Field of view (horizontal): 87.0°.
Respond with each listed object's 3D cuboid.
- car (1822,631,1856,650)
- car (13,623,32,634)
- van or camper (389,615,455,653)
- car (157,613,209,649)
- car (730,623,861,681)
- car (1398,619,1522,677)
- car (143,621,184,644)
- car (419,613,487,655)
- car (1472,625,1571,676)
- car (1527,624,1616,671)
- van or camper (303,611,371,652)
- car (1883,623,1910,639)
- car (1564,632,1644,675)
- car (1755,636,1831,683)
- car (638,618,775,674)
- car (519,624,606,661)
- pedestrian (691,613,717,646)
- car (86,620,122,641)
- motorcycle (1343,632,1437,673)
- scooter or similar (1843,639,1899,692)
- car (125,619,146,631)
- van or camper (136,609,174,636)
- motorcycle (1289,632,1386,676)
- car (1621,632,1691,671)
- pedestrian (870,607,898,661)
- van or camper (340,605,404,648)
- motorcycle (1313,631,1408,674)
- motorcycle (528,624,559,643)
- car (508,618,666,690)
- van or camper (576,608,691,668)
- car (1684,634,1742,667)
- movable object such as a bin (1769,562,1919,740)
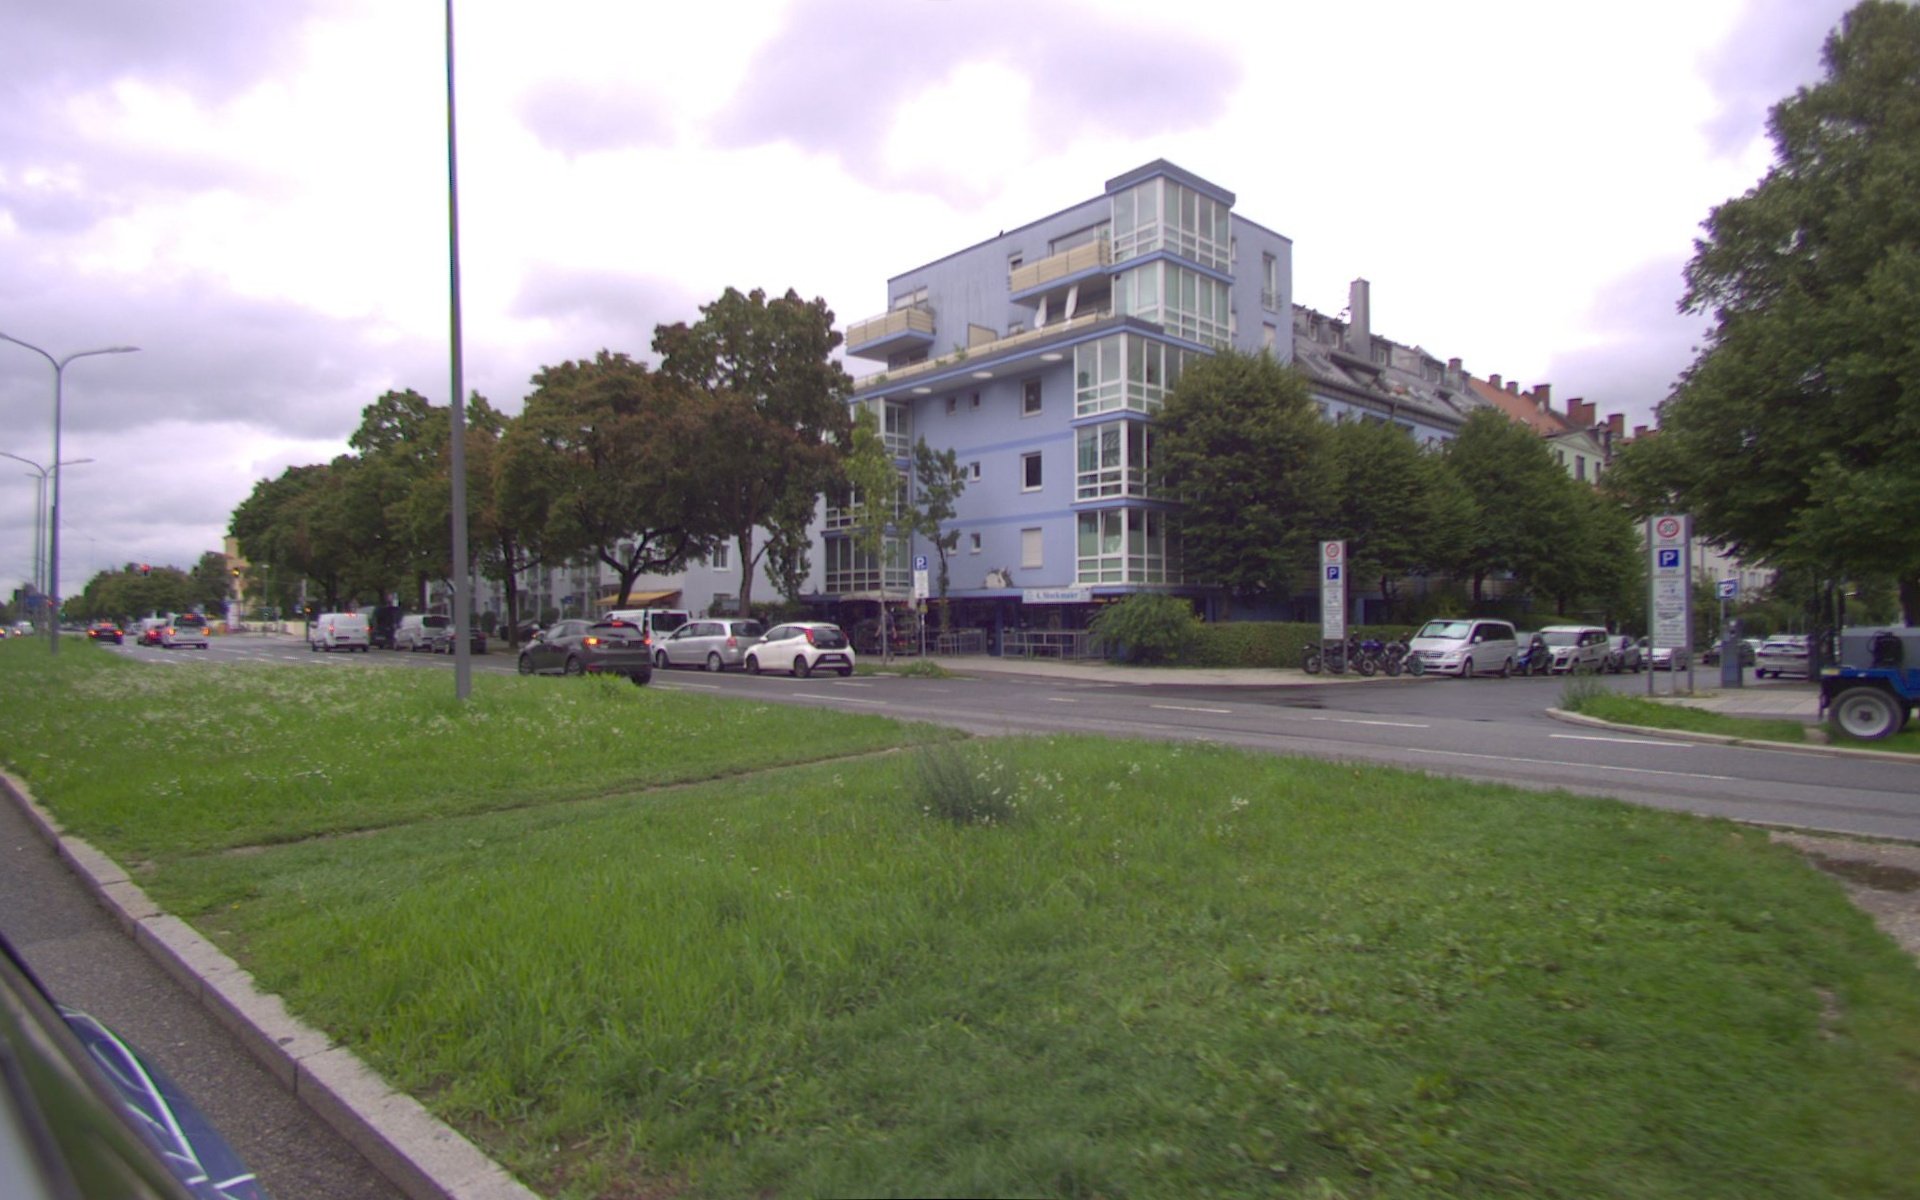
[{"bbox_3d":[74.974,3.426,86.296,1.938,1.605,3.941,-1,-2,45],"label":"car"},{"bbox_3d":[-107.808,3.263,116.355,1.567,1.276,3.738,1,-2,-43],"label":"car"},{"bbox_3d":[-29.099,1.807,54.634,1.996,1.957,4.709,1,-2,-43],"label":"van or camper"},{"bbox_3d":[-45.015,1.792,58.581,1.916,2.013,4.709,1,-2,-43],"label":"car"},{"bbox_3d":[-4.607,1.380,28.032,3.904,1.500,1.628,-1,-2,45],"label":"car"},{"bbox_3d":[15.870,1.457,32.001,2.001,1.695,5.043,-1,-2,45],"label":"car"},{"bbox_3d":[-51.385,2.064,65.257,1.770,1.459,3.675,1,-2,-43],"label":"car"},{"bbox_3d":[-25.118,1.646,50.087,1.775,2.013,4.551,1,-2,-43],"label":"car"},{"bbox_3d":[20.130,1.739,36.221,2.001,1.695,4.199,-1,-2,45],"label":"car"},{"bbox_3d":[23.533,1.785,38.895,2.001,1.695,4.199,-1,-2,45],"label":"car"},{"bbox_3d":[-32.561,1.625,52.799,1.992,2.031,5.203,1,-2,-43],"label":"van or camper"},{"bbox_3d":[99.527,3.261,107.572,1.938,1.605,3.941,-1,-2,45],"label":"car"},{"bbox_3d":[26.965,2.188,42.317,2.001,1.695,3.941,-1,-2,45],"label":"car"},{"bbox_3d":[32.069,2.229,38.942,1.876,1.637,3.941,-1,-2,45],"label":"car"},{"bbox_3d":[-7.963,1.385,31.550,4.659,1.628,1.682,-1,-2,39],"label":"car"},{"bbox_3d":[-15.808,1.652,40.144,1.656,1.405,4.337,1,-2,-45],"label":"car"},{"bbox_3d":[-12.653,1.469,50.078,0.969,1.615,0.761,0,-2,22],"label":"pedestrian"},{"bbox_3d":[-60.235,2.123,71.182,1.736,1.459,3.675,1,-2,-43],"label":"car"},{"bbox_3d":[12.409,1.507,29.274,2.458,1.141,0.495,0,-1,18],"label":"motorcycle"},{"bbox_3d":[17.428,1.232,19.377,0.441,0.966,1.142,-1,-1,24],"label":"scooter or similar"},{"bbox_3d":[-126.545,3.804,155.376,2.115,1.904,4.003,1,-2,-44],"label":"car"},{"bbox_3d":[-57.039,1.602,71.655,1.770,1.811,4.129,1,-2,-43],"label":"van or camper"},{"bbox_3d":[10.274,1.453,27.596,2.464,1.141,0.494,0,-2,25],"label":"motorcycle"},{"bbox_3d":[32.491,2.348,47.193,2.001,1.695,3.941,-1,-2,45],"label":"car"},{"bbox_3d":[-2.589,1.145,34.464,0.634,1.819,0.781,1,-2,-42],"label":"pedestrian"},{"bbox_3d":[-35.739,1.575,61.462,2.026,2.506,5.552,1,-2,-44],"label":"van or camper"},{"bbox_3d":[11.188,1.460,28.363,2.459,1.141,0.495,0,-1,20],"label":"motorcycle"},{"bbox_3d":[-25.884,2.062,62.890,0.464,1.179,1.789,-1,-2,42],"label":"motorcycle"},{"bbox_3d":[-8.653,1.170,23.287,1.934,1.491,4.263,1,-2,-43],"label":"car"},{"bbox_3d":[-11.539,1.293,35.546,1.783,1.983,5.215,1,-2,-44],"label":"van or camper"},{"bbox_3d":[40.564,2.688,54.464,1.938,1.605,3.941,-1,-2,45],"label":"car"},{"bbox_3d":[11.872,0.571,11.582,3.998,1.968,2.170,-1,-2,41],"label":"movable object such as a bin"}]
